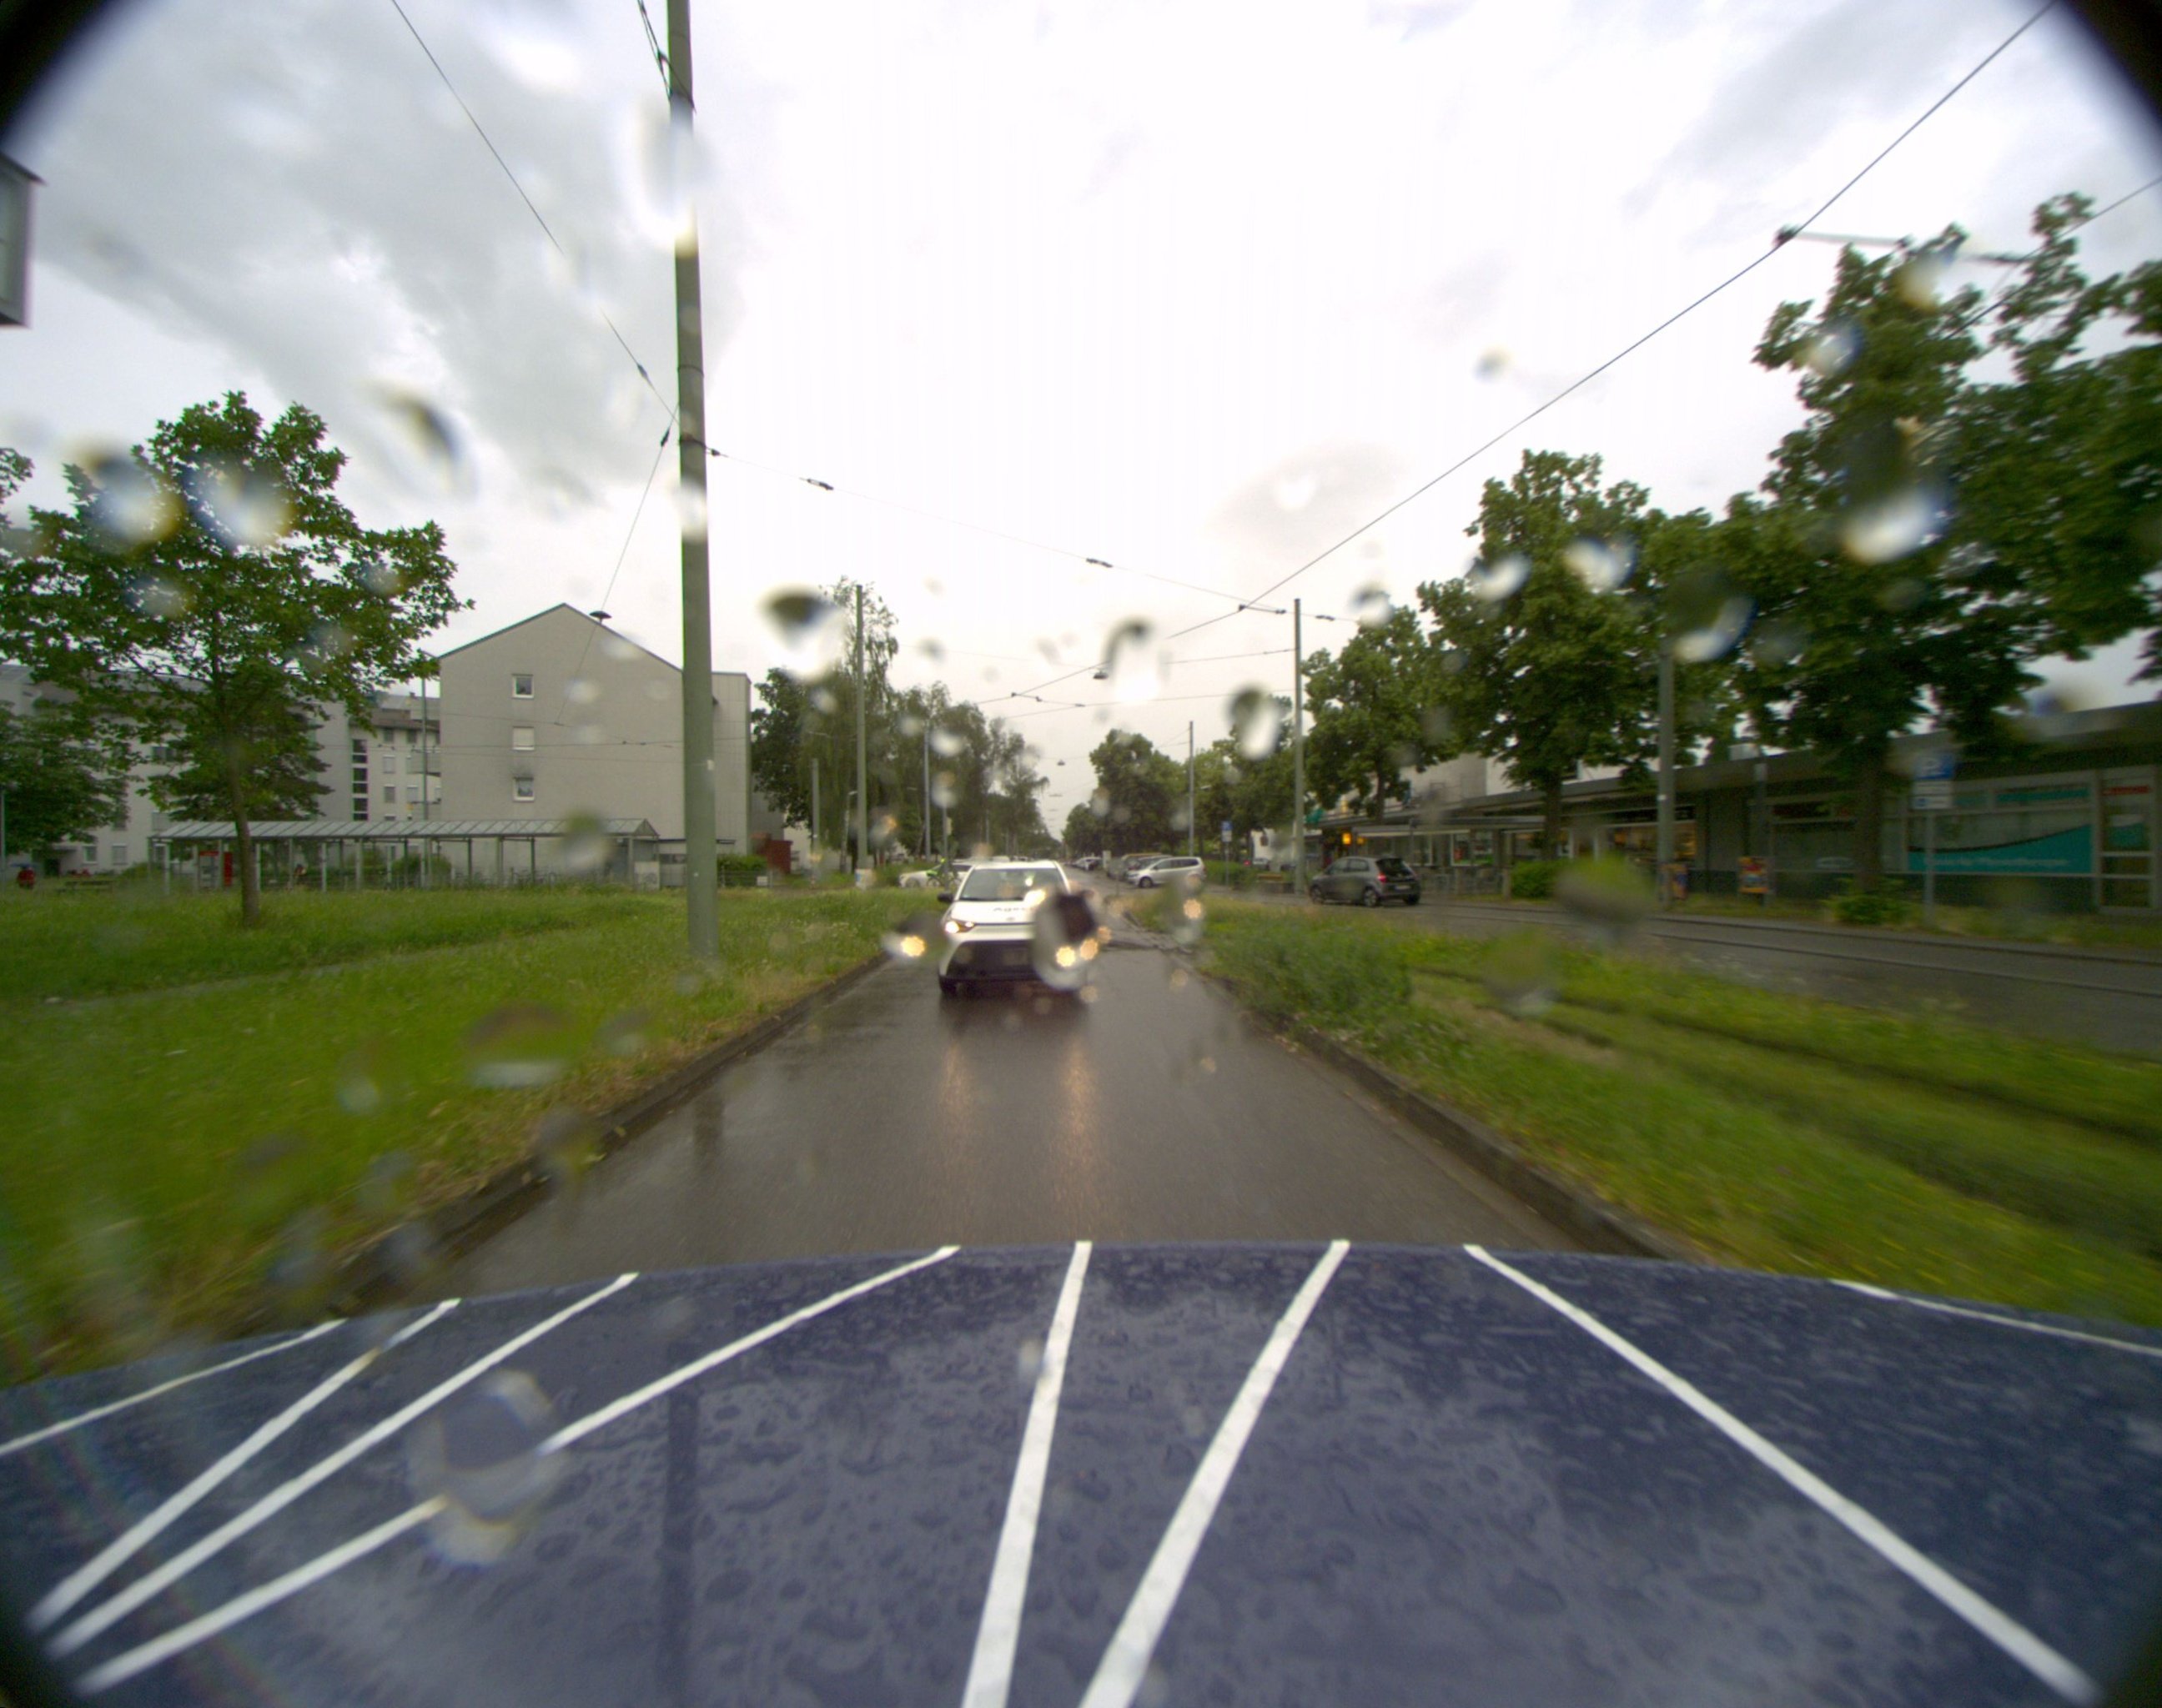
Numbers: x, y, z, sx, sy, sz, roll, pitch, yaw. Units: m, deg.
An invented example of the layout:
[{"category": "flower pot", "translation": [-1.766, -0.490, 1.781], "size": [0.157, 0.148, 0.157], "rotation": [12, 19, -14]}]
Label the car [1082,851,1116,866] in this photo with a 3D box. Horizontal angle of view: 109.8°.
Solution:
[{"category": "car", "translation": [2.430, 0.609, 105.307], "size": [4.547, 1.931, 1.898], "rotation": [-2, 0, -4]}]

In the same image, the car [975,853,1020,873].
[{"category": "car", "translation": [-8.729, 0.940, 79.763], "size": [4.547, 1.931, 1.898], "rotation": [-2, 0, -4]}]

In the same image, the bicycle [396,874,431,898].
[{"category": "bicycle", "translation": [-28.922, 1.370, 32.941], "size": [0.377, 0.942, 1.238], "rotation": [-3, 0, 1]}]

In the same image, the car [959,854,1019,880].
[{"category": "car", "translation": [-7.242, 1.029, 60.224], "size": [4.443, 1.835, 1.722], "rotation": [-3, 1, -1]}]

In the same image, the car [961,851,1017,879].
[{"category": "car", "translation": [-7.619, 0.877, 63.121], "size": [4.444, 2.050, 1.722], "rotation": [-3, 1, -6]}]

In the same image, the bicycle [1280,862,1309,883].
[{"category": "bicycle", "translation": [11.423, 0.965, 40.697], "size": [0.594, 1.066, 1.748], "rotation": [0, 0, -20]}]

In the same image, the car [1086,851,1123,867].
[{"category": "car", "translation": [2.945, 0.613, 95.767], "size": [4.547, 1.931, 1.898], "rotation": [-2, 0, -4]}]

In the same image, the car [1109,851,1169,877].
[{"category": "car", "translation": [4.159, 0.686, 54.918], "size": [4.089, 1.699, 1.898], "rotation": [-2, 0, -4]}]

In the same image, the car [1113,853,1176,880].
[{"category": "car", "translation": [4.361, 0.868, 52.586], "size": [4.089, 1.699, 1.898], "rotation": [-2, 0, -4]}]

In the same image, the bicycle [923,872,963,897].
[{"category": "bicycle", "translation": [-6.630, 1.433, 36.414], "size": [1.755, 1.123, 0.727], "rotation": [-1, -1, -21]}]

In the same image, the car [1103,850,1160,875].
[{"category": "car", "translation": [4.273, 0.722, 64.175], "size": [4.547, 1.931, 1.898], "rotation": [-2, 0, -4]}]

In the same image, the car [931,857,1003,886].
[{"category": "car", "translation": [-6.747, 1.039, 45.186], "size": [3.997, 1.477, 1.722], "rotation": [-3, 0, -1]}]

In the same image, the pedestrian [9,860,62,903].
[{"category": "pedestrian", "translation": [-48.181, 1.263, 35.036], "size": [1.051, 1.873, 1.191], "rotation": [-2, 1, 25]}]

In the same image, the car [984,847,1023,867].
[{"category": "car", "translation": [-9.098, 0.345, 89.756], "size": [4.444, 2.050, 1.722], "rotation": [-3, 1, -6]}]

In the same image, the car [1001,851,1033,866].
[{"category": "car", "translation": [-9.364, 0.642, 111.245], "size": [4.547, 2.013, 1.898], "rotation": [-2, 0, -4]}]

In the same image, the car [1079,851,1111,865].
[{"category": "car", "translation": [2.118, 0.658, 115.795], "size": [4.547, 1.931, 1.898], "rotation": [-2, 0, -4]}]

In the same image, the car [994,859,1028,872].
[{"category": "car", "translation": [-9.537, 1.538, 104.145], "size": [4.547, 1.574, 1.898], "rotation": [-2, 0, -4]}]

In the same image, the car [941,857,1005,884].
[{"category": "car", "translation": [-7.115, 1.053, 50.378], "size": [3.997, 1.576, 1.722], "rotation": [-3, 1, -1]}]

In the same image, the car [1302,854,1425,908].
[{"category": "car", "translation": [8.647, 0.791, 23.598], "size": [1.553, 1.494, 3.617], "rotation": [-3, 0, -20]}]

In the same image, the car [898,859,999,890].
[{"category": "car", "translation": [-6.752, 1.049, 39.117], "size": [4.839, 1.449, 2.000], "rotation": [1, 0, -2]}]

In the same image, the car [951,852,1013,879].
[{"category": "car", "translation": [-7.524, 0.869, 57.893], "size": [4.443, 1.835, 1.722], "rotation": [-3, 1, -1]}]

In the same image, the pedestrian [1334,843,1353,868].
[{"category": "pedestrian", "translation": [18.249, 0.113, 52.858], "size": [1.079, 1.704, 0.948], "rotation": [0, 1, 8]}]

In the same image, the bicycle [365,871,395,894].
[{"category": "bicycle", "translation": [-30.386, 1.248, 32.965], "size": [0.418, 0.942, 1.306], "rotation": [-3, 1, -18]}]

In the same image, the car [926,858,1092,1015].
[{"category": "car", "translation": [-0.812, 0.931, 9.905], "size": [1.719, 1.613, 3.715], "rotation": [-1, -2, -2]}]

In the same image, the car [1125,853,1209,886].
[{"category": "car", "translation": [4.792, 0.850, 42.597], "size": [4.336, 1.664, 1.999], "rotation": [-2, 0, -4]}]

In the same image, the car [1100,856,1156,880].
[{"category": "car", "translation": [3.779, 1.099, 61.395], "size": [4.304, 1.799, 1.898], "rotation": [-2, 0, -4]}]

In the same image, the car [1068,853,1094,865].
[{"category": "car", "translation": [0.022, 0.914, 136.076], "size": [4.547, 1.931, 1.898], "rotation": [-2, 0, -4]}]

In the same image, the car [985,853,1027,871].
[{"category": "car", "translation": [-8.377, 0.899, 85.147], "size": [4.547, 1.931, 1.898], "rotation": [-2, 0, -4]}]

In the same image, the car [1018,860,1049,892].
[{"category": "car", "translation": [-3.364, 1.518, 53.553], "size": [1.999, 2.002, 3.998], "rotation": [-3, 0, -4]}]

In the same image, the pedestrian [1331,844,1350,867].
[{"category": "pedestrian", "translation": [18.428, 0.104, 53.972], "size": [1.079, 1.575, 0.948], "rotation": [0, 1, 8]}]

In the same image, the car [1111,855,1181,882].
[{"category": "car", "translation": [4.087, 0.893, 48.239], "size": [4.089, 1.562, 1.999], "rotation": [-2, 0, -4]}]

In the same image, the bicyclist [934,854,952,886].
[{"category": "bicyclist", "translation": [-6.611, 0.745, 36.427], "size": [0.699, 1.507, 0.724], "rotation": [-1, -1, -21]}]

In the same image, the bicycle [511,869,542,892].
[{"category": "bicycle", "translation": [-23.934, 1.131, 32.836], "size": [0.377, 0.950, 1.238], "rotation": [-3, 0, 1]}]

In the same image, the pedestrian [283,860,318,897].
[{"category": "pedestrian", "translation": [-34.216, 1.082, 33.315], "size": [0.636, 1.563, 0.789], "rotation": [-3, 1, -4]}]

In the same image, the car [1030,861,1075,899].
[{"category": "car", "translation": [-1.326, 1.228, 36.911], "size": [1.962, 1.544, 3.998], "rotation": [-1, 2, 0]}]

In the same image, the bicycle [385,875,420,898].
[{"category": "bicycle", "translation": [-29.419, 1.392, 32.959], "size": [0.377, 0.942, 1.238], "rotation": [-3, 0, 1]}]
